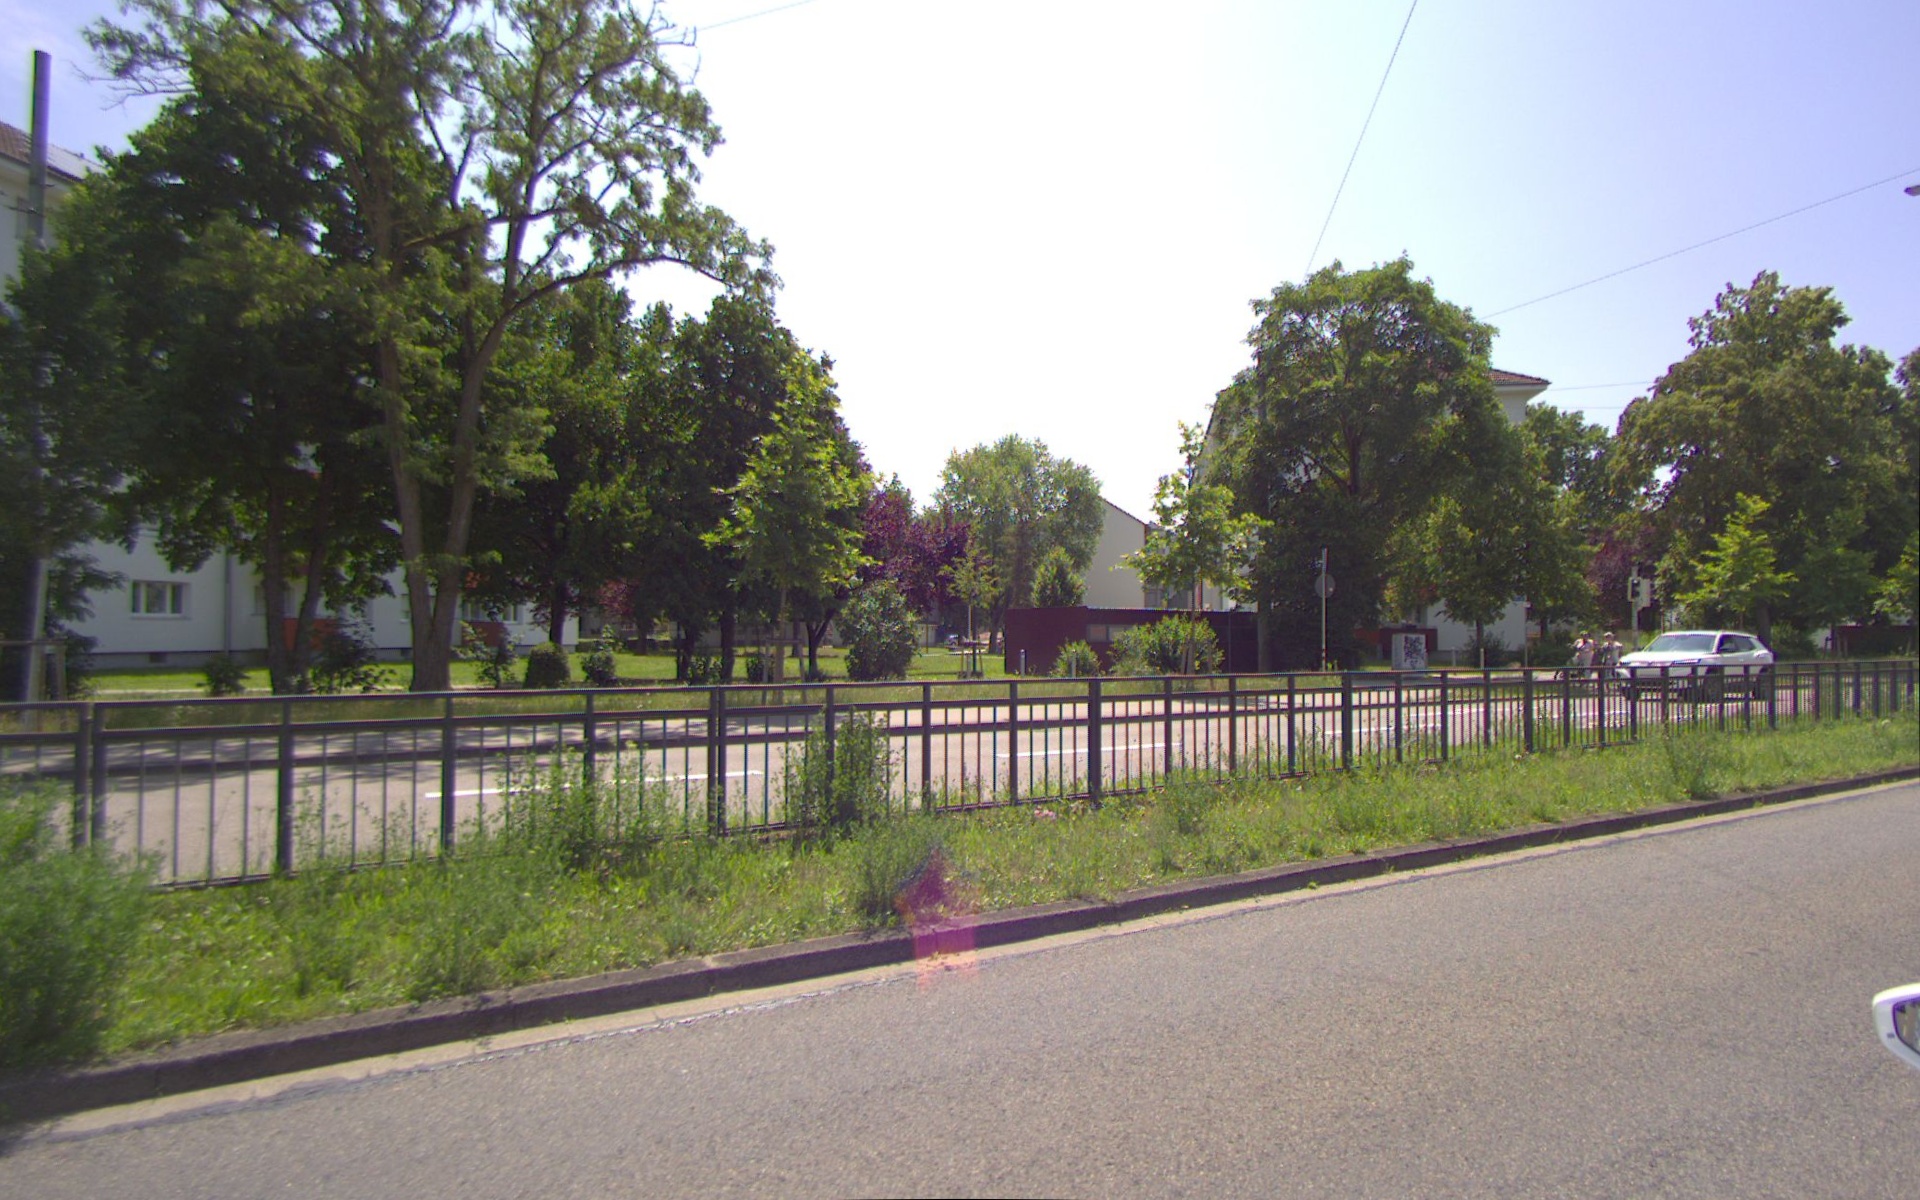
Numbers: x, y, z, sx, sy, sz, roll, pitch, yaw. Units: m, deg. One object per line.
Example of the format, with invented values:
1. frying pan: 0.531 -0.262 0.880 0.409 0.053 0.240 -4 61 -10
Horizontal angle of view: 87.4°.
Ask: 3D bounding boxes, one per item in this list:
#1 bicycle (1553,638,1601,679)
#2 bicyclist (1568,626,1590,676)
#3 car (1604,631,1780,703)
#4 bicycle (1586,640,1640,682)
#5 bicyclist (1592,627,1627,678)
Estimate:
1. bicycle: 17.497 1.656 28.491 1.363 1.109 0.551 2 -1 -29
2. bicyclist: 17.587 1.444 28.538 0.435 1.410 0.356 1 0 -27
3. car: 17.464 1.549 23.924 4.296 1.593 1.812 1 -2 -30
4. bicycle: 18.093 1.676 27.831 1.596 1.148 0.585 1 -2 -30
5. bicyclist: 17.956 1.446 27.768 0.747 1.363 0.542 1 -2 -31
